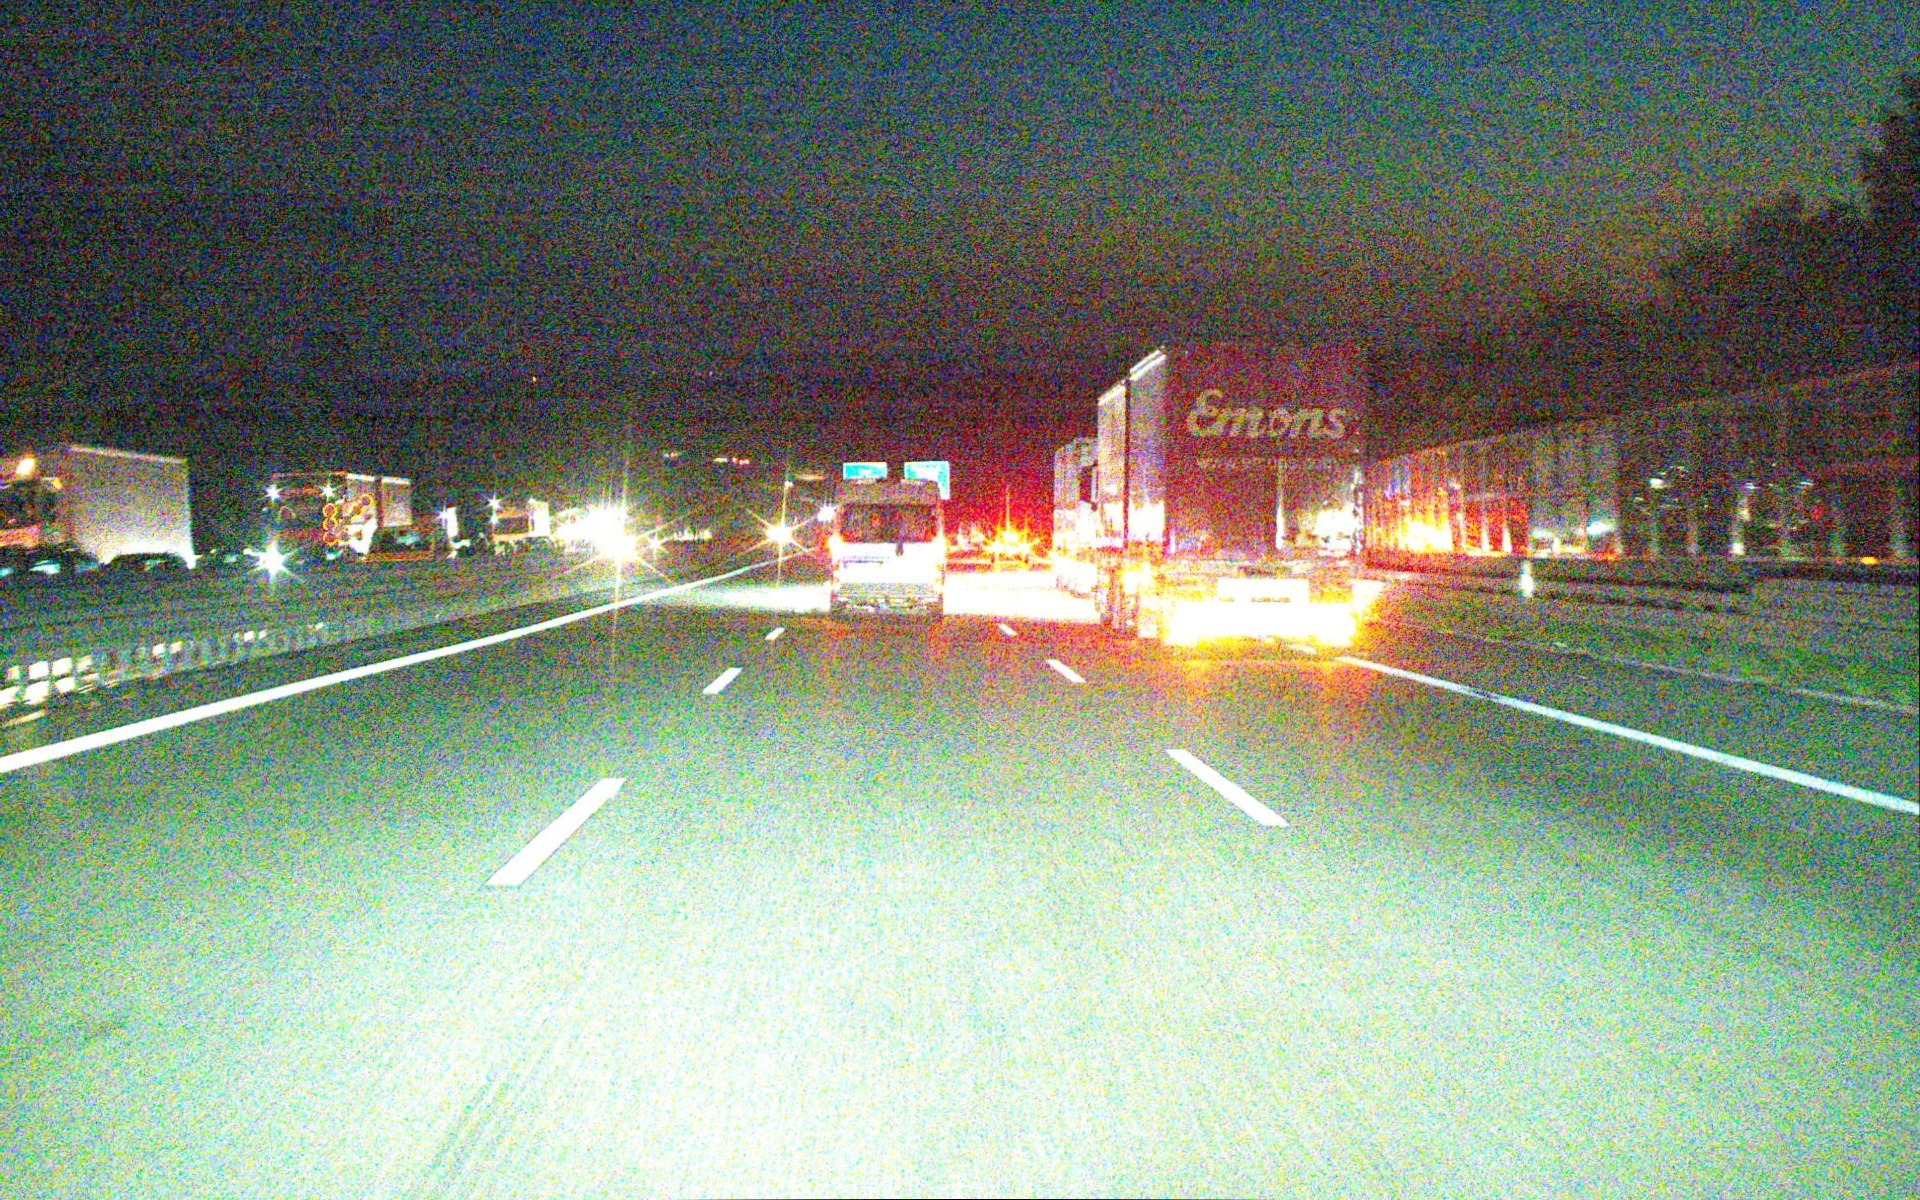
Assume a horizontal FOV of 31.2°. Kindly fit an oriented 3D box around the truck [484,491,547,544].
[{"bbox_3d":[-28.672,-5.330,222.135,3.169,3.211,7.449,1,0,-1],"label":"truck"}]

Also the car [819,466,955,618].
[{"bbox_3d":[-1.353,-1.024,62.386,2.337,2.631,5.248,0,0,-2],"label":"car"}]

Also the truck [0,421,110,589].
[{"bbox_3d":[-21.512,-2.158,78.328,2.874,3.661,6.051,0,1,-1],"label":"truck"}]

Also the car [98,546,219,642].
[{"bbox_3d":[-17.421,-0.131,74.869,1.993,2.007,4.001,1,0,-5],"label":"car"}]

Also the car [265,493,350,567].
[{"bbox_3d":[-18.677,-1.978,98.525,1.993,2.007,4.001,1,0,-5],"label":"car"}]

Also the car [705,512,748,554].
[{"bbox_3d":[-11.551,-3.296,170.144,1.993,2.007,4.001,1,0,-5],"label":"car"}]

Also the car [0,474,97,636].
[{"bbox_3d":[-12.569,-0.585,44.716,1.993,2.007,4.001,1,0,-5],"label":"car"}]

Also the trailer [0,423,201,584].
[{"bbox_3d":[-21.714,-2.264,85.707,2.885,3.659,13.049,1,0,-1],"label":"trailer"}]

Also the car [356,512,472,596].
[{"bbox_3d":[-13.582,-1.119,85.771,1.993,2.007,5.325,1,0,0],"label":"car"}]

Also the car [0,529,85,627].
[{"bbox_3d":[-17.113,-0.404,61.741,1.993,1.680,4.508,1,0,-5],"label":"car"}]

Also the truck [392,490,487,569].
[{"bbox_3d":[-27.012,-3.587,179.196,2.885,3.836,15.069,1,0,-1],"label":"truck"}]

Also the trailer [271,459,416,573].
[{"bbox_3d":[-22.741,-2.999,127.721,2.885,3.836,15.069,1,0,-1],"label":"trailer"}]

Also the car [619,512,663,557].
[{"bbox_3d":[-14.929,-3.054,160.993,1.993,2.007,4.001,1,0,-5],"label":"car"}]

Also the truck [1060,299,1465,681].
[{"bbox_3d":[4.107,-1.448,53.664,3.915,4.611,21.019,-3,0,-1],"label":"truck"}]

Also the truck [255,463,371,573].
[{"bbox_3d":[-22.552,-2.816,120.145,2.859,3.674,6.603,1,0,-1],"label":"truck"}]

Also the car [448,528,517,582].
[{"bbox_3d":[-18.760,-1.748,135.250,1.993,2.007,5.325,1,0,0],"label":"car"}]

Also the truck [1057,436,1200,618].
[{"bbox_3d":[4.357,-1.973,91.841,3.344,4.460,13.910,0,1,1],"label":"truck"}]
